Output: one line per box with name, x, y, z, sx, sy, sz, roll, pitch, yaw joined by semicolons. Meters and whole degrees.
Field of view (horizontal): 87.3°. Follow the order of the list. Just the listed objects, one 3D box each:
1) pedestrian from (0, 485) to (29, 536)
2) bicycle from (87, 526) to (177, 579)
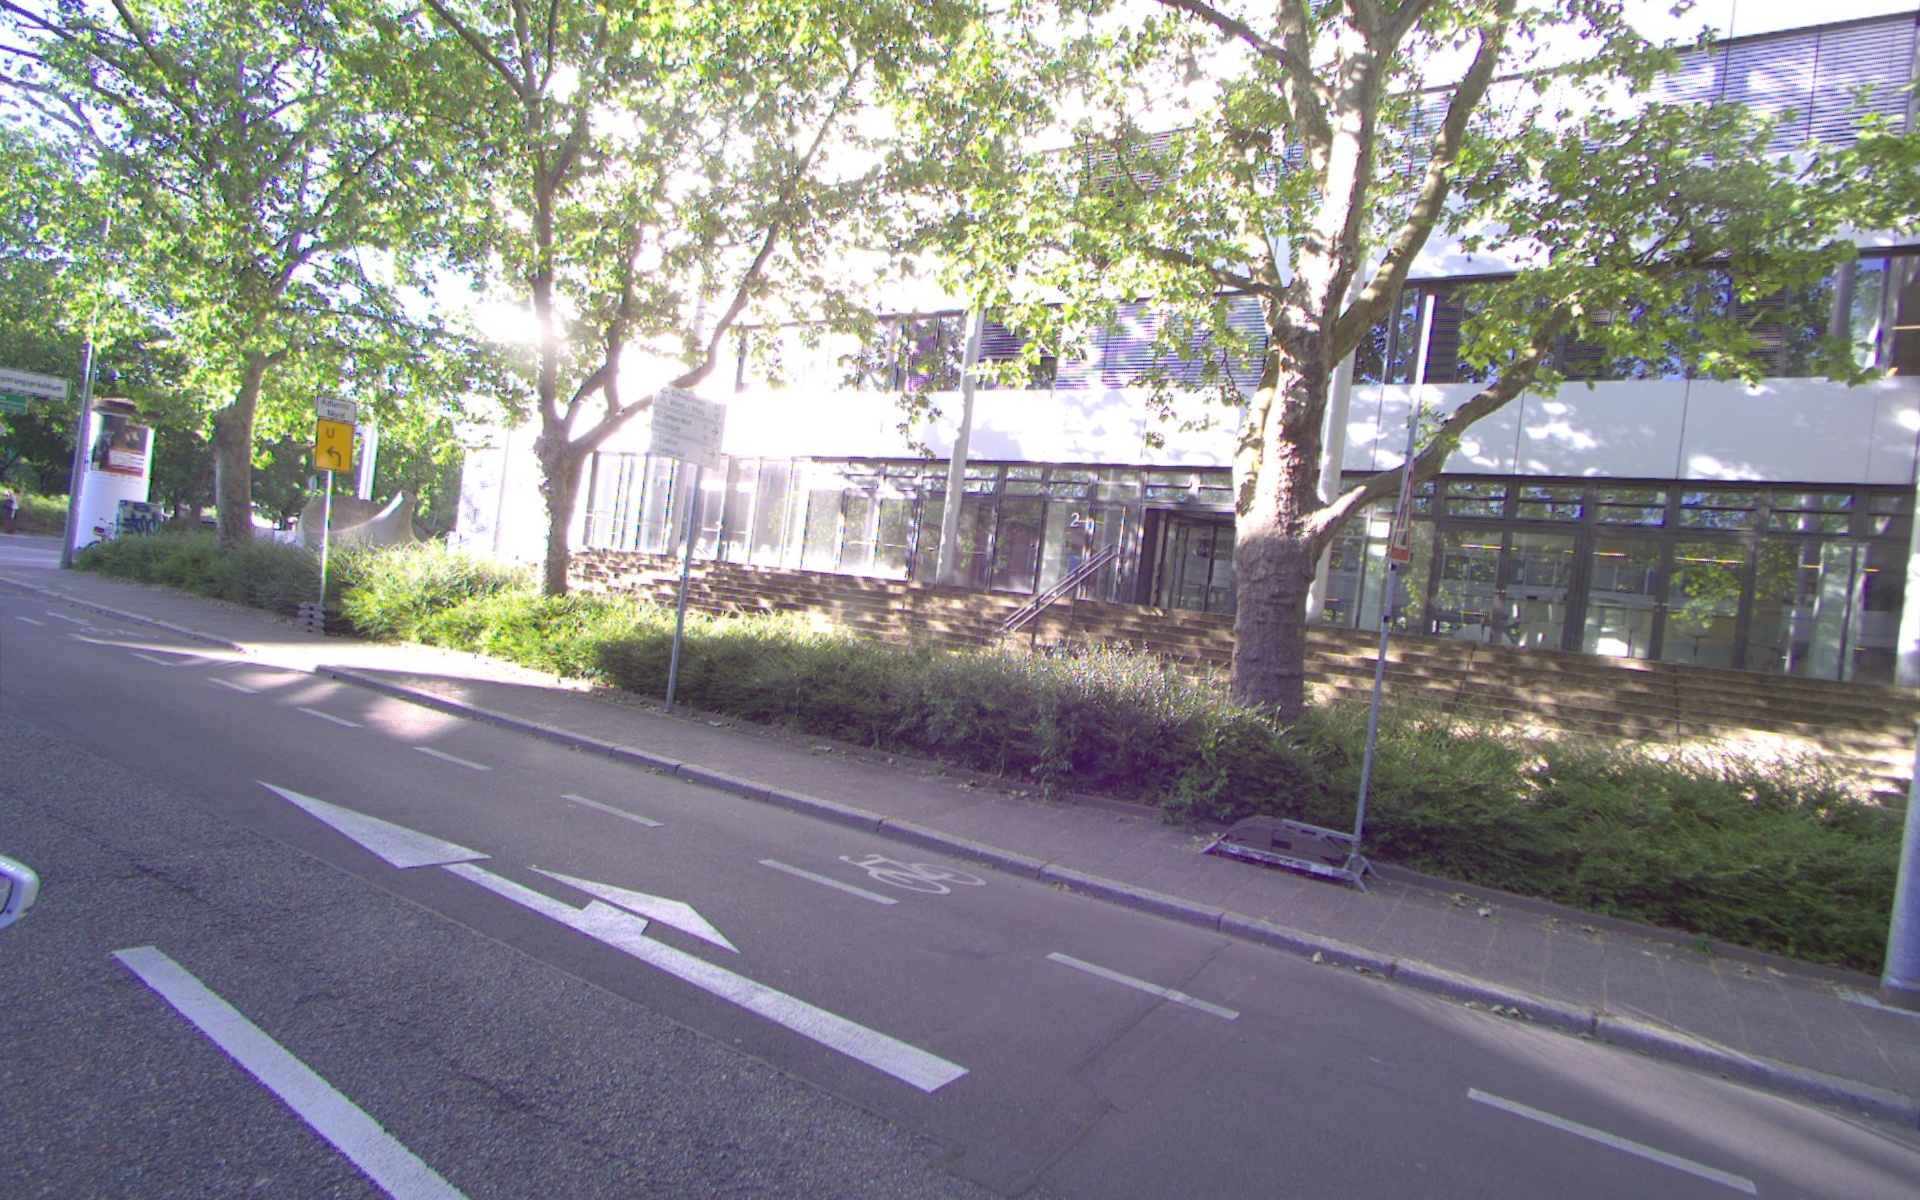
pedestrian;-36.212;-3.407;38.414;0.672;1.793;0.613;8;-1;-29
bicycle;-19.045;-1.074;23.177;0.295;0.991;1.484;6;-2;37
